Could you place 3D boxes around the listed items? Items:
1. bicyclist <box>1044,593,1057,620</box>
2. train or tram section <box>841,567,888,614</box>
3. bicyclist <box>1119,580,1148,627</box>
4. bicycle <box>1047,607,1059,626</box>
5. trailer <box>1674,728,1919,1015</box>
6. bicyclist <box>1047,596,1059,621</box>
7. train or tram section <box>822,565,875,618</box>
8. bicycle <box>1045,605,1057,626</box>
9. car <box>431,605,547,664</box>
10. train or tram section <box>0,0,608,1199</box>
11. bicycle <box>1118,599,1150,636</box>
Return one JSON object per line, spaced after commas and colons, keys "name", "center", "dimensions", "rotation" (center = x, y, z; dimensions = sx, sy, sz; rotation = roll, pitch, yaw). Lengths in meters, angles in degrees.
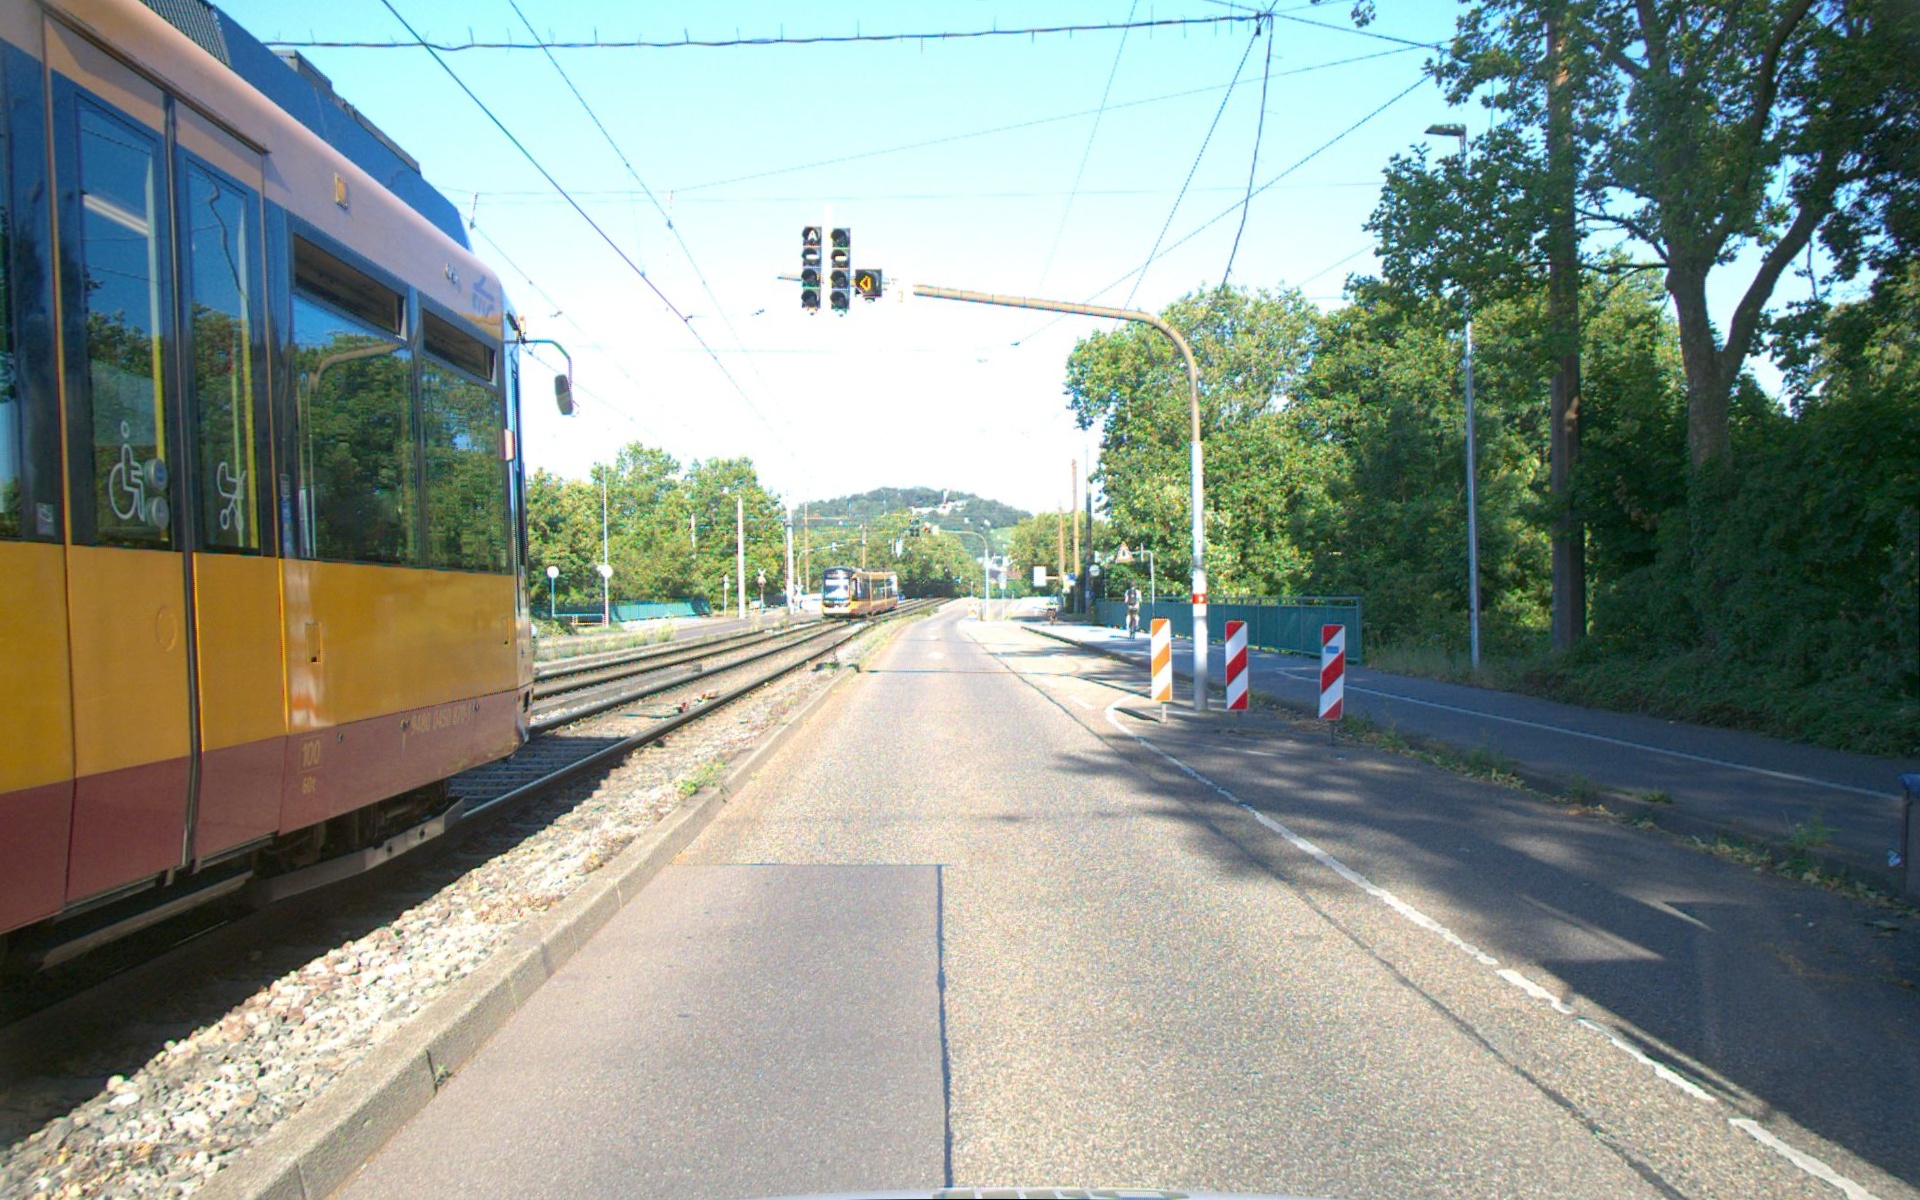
{"name": "bicyclist", "center": [4.767, 0.338, 86.743], "dimensions": [0.592, 1.403, 0.975], "rotation": [-1, 0, -1]}
{"name": "train or tram section", "center": [-7.441, -0.696, 130.341], "dimensions": [2.589, 3.537, 10.835], "rotation": [0, 0, 2]}
{"name": "bicyclist", "center": [5.776, 0.127, 55.127], "dimensions": [0.807, 1.547, 0.975], "rotation": [-1, 0, -1]}
{"name": "bicycle", "center": [5.343, 0.940, 95.118], "dimensions": [0.528, 1.060, 1.974], "rotation": [-1, 0, -1]}
{"name": "trailer", "center": [4.240, 1.061, 6.228], "dimensions": [1.544, 0.874, 3.501], "rotation": [0, 0, -1]}
{"name": "bicyclist", "center": [5.345, 0.490, 95.121], "dimensions": [0.592, 1.403, 0.975], "rotation": [-1, 0, -1]}
{"name": "train or tram section", "center": [-7.912, -0.627, 119.081], "dimensions": [2.589, 3.629, 10.836], "rotation": [-1, 0, 2]}
{"name": "bicycle", "center": [4.774, 0.788, 86.735], "dimensions": [0.504, 1.060, 1.974], "rotation": [-1, 0, -1]}
{"name": "car", "center": [-12.416, 0.871, 43.918], "dimensions": [1.731, 1.437, 4.911], "rotation": [-1, 0, -1]}
{"name": "train or tram section", "center": [-3.744, -0.560, 5.315], "dimensions": [2.664, 4.160, 12.809], "rotation": [-2, 0, -1]}
{"name": "bicycle", "center": [5.786, 0.563, 55.182], "dimensions": [0.713, 1.196, 2.694], "rotation": [-1, 0, -1]}
